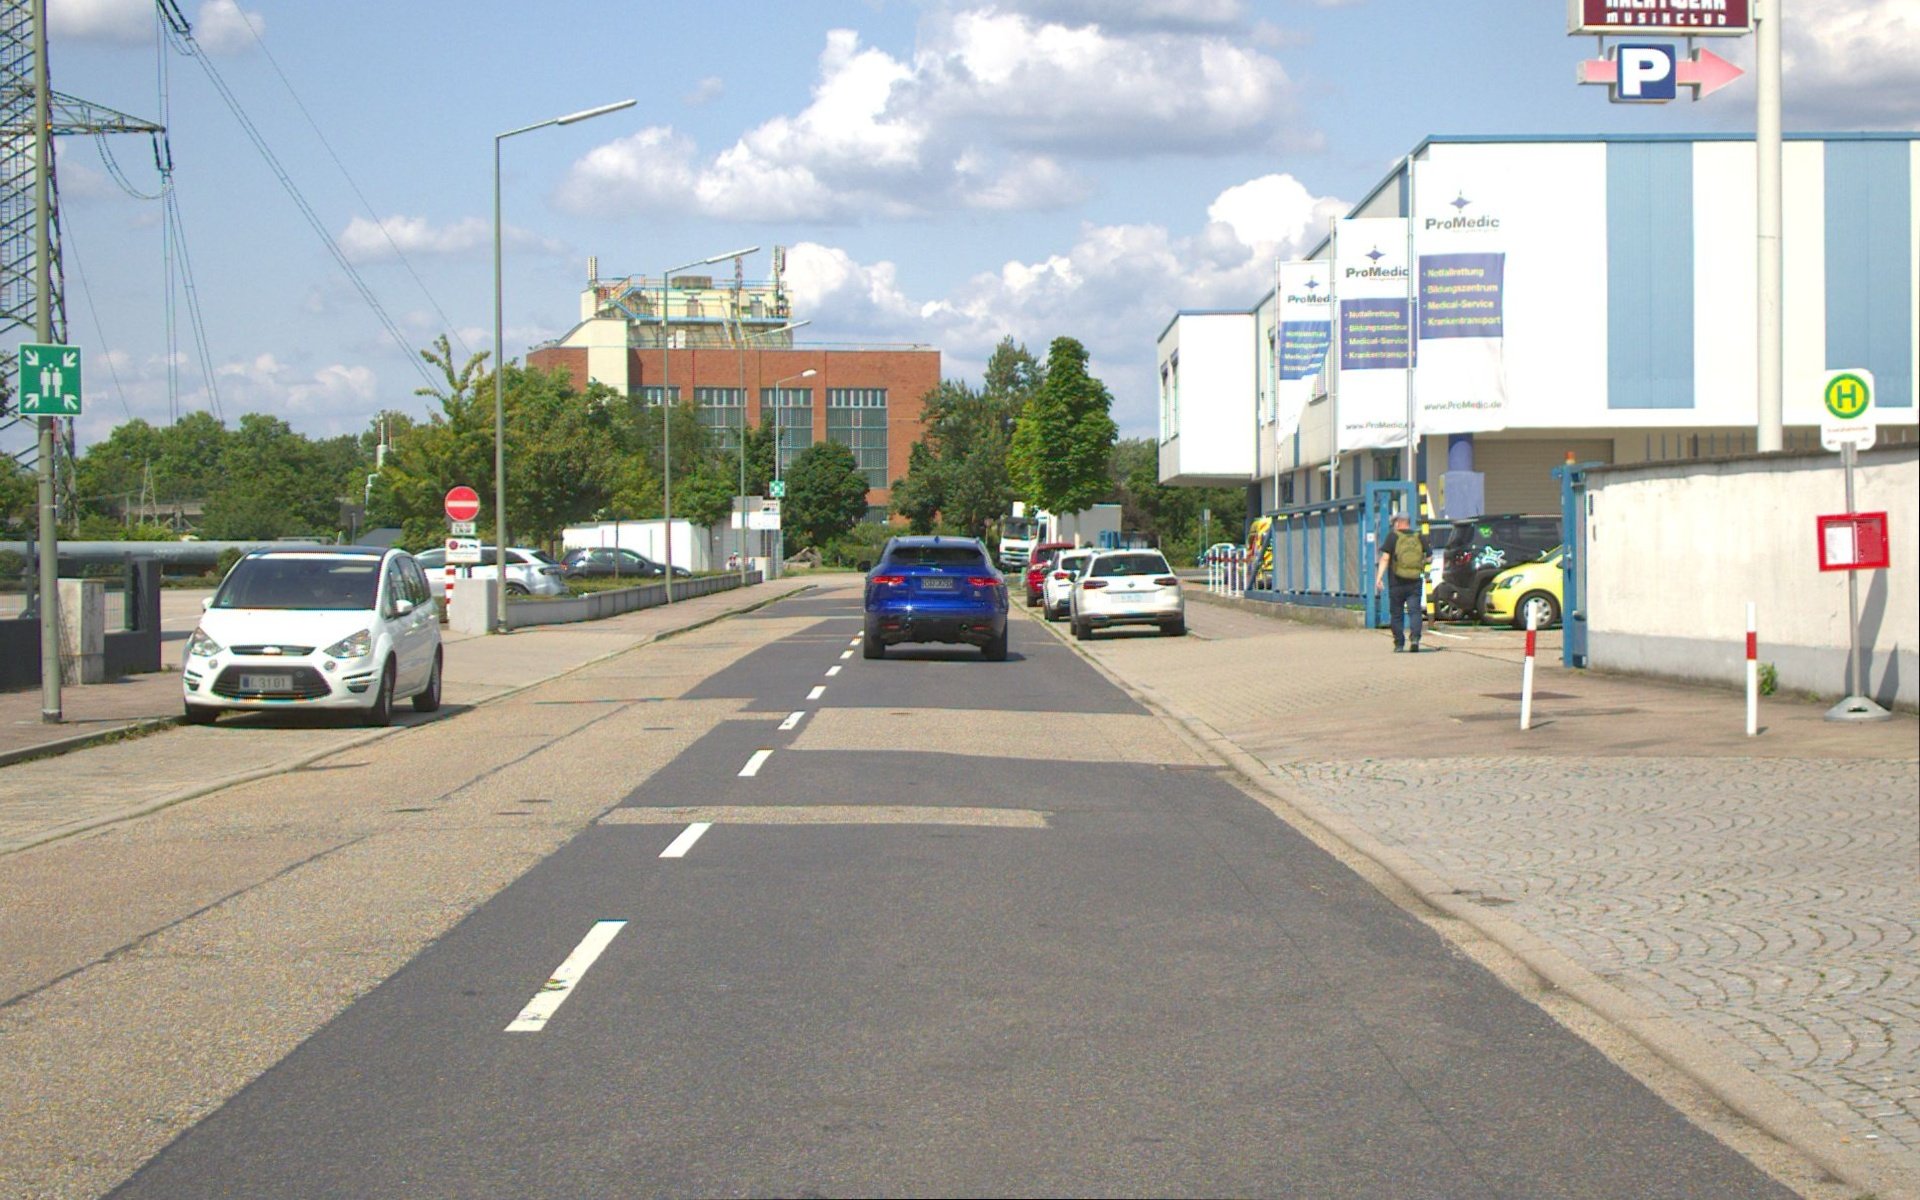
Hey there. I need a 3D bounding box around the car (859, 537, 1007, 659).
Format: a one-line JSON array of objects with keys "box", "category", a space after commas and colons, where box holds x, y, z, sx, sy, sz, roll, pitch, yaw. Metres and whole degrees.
[{"box": [-0.383, -0.049, 47.182, 1.909, 1.588, 4.701, 0, 1, -1], "category": "car"}]

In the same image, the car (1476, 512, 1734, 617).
[{"box": [9.364, -0.515, 50.069, 3.403, 1.485, 1.791, 0, 1, 0], "category": "car"}]

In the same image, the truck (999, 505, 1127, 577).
[{"box": [5.344, -3.094, 176.770, 2.325, 3.555, 9.351, 2, 2, 30], "category": "truck"}]

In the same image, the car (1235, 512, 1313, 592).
[{"box": [9.842, -1.492, 108.048, 1.924, 2.455, 5.260, 0, 1, 0], "category": "car"}]

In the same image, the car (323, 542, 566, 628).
[{"box": [-10.580, -0.319, 70.801, 4.754, 1.597, 2.000, -2, 1, -3], "category": "car"}]

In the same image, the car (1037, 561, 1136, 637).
[{"box": [2.610, -0.040, 71.607, 1.835, 1.515, 4.461, 0, 1, -1], "category": "car"}]

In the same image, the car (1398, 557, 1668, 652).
[{"box": [9.141, 0.061, 55.094, 3.987, 1.415, 2.000, -1, 1, 1], "category": "car"}]

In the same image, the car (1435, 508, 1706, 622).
[{"box": [9.287, -0.535, 52.511, 3.806, 1.674, 1.791, 0, 0, 0], "category": "car"}]

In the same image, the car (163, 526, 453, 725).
[{"box": [-6.035, 0.197, 32.342, 1.867, 1.702, 4.753, 1, 1, -1], "category": "car"}]

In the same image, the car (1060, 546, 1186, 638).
[{"box": [2.753, -0.153, 58.944, 1.867, 1.515, 4.598, 0, 1, -1], "category": "car"}]

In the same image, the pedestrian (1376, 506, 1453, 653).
[{"box": [5.533, -0.253, 41.871, 0.769, 1.750, 0.787, -2, 0, -1], "category": "pedestrian"}]

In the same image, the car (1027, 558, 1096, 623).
[{"box": [2.677, -0.270, 90.532, 1.755, 1.645, 4.677, 0, 1, 2], "category": "car"}]
